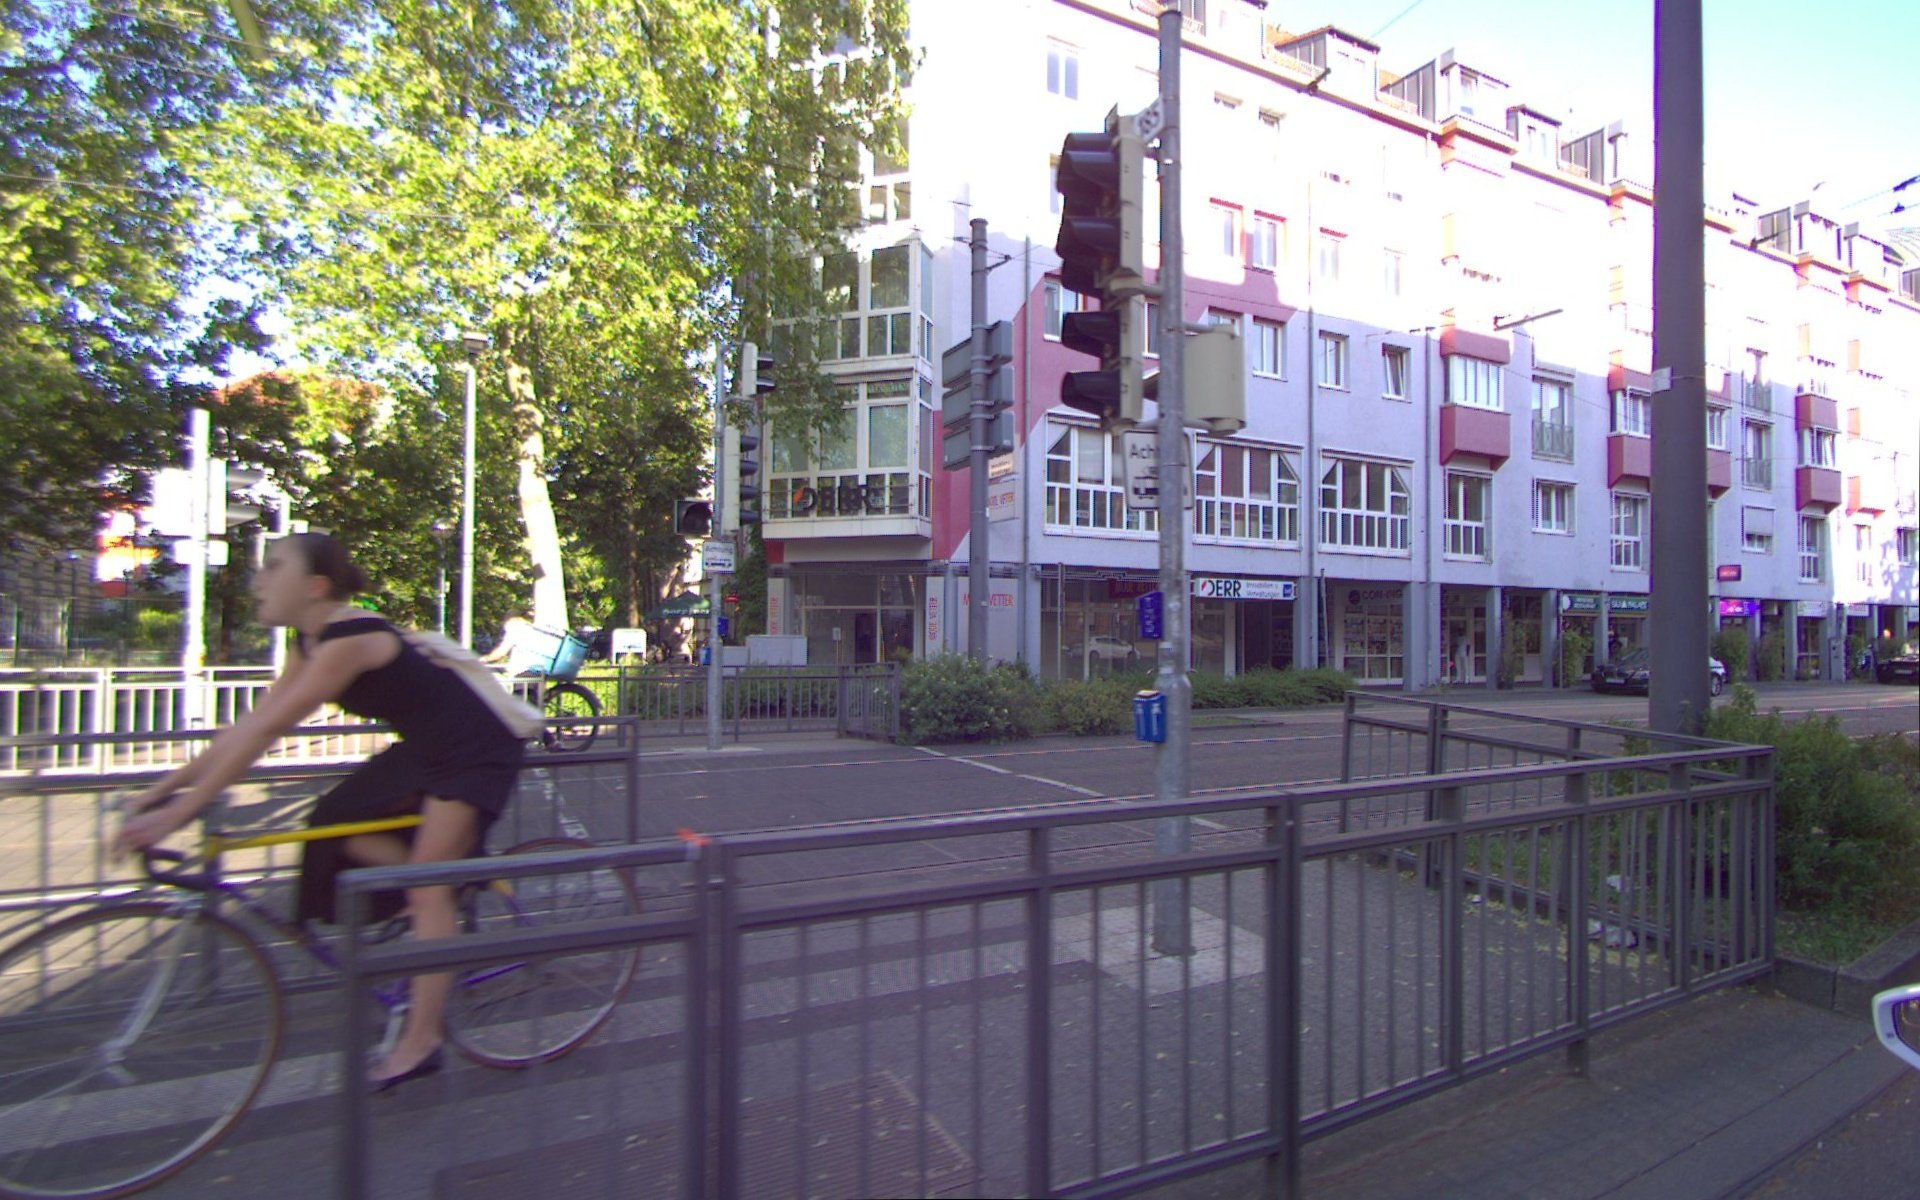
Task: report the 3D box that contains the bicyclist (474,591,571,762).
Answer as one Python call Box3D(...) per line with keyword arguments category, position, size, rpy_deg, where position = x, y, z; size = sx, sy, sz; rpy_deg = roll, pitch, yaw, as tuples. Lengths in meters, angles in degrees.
Box3D(category="bicyclist", position=(-4.590, 0.778, 10.559), size=(0.731, 1.734, 0.534), rpy_deg=(0, -1, 17))

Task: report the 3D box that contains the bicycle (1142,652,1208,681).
Box3D(category="bicycle", position=(5.281, 1.616, 24.608), size=(1.791, 0.667, 0.453), rpy_deg=(2, 1, -33))

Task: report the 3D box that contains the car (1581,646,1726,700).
Box3D(category="car", position=(21.150, 2.196, 30.607), size=(4.652, 1.458, 1.860), rpy_deg=(2, -1, -31))

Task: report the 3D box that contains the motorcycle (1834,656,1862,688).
Box3D(category="motorcycle", position=(35.398, 2.850, 40.024), size=(2.127, 1.221, 0.663), rpy_deg=(3, -1, -45))

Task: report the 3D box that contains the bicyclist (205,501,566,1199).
Box3D(category="bicyclist", position=(-1.559, 0.585, 2.748), size=(0.740, 1.599, 0.527), rpy_deg=(2, -2, -42))

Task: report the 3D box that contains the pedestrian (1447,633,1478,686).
Box3D(category="pedestrian", position=(16.751, 1.984, 33.497), size=(0.609, 1.734, 0.739), rpy_deg=(1, -2, -31))

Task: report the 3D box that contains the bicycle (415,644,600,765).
Box3D(category="bicycle", position=(-4.779, 1.068, 10.606), size=(1.862, 1.092, 0.584), rpy_deg=(2, 1, 19))

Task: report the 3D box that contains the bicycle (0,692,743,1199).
Box3D(category="bicycle", position=(-1.591, 0.853, 2.720), size=(1.884, 1.092, 0.577), rpy_deg=(2, 1, -40))

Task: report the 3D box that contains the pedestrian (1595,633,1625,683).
Box3D(category="pedestrian", position=(22.706, 2.022, 35.081), size=(0.737, 1.734, 0.611), rpy_deg=(1, -2, -29))

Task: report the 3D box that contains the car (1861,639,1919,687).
Box3D(category="car", position=(37.796, 2.523, 39.472), size=(4.761, 1.735, 2.082), rpy_deg=(3, -1, -29))
